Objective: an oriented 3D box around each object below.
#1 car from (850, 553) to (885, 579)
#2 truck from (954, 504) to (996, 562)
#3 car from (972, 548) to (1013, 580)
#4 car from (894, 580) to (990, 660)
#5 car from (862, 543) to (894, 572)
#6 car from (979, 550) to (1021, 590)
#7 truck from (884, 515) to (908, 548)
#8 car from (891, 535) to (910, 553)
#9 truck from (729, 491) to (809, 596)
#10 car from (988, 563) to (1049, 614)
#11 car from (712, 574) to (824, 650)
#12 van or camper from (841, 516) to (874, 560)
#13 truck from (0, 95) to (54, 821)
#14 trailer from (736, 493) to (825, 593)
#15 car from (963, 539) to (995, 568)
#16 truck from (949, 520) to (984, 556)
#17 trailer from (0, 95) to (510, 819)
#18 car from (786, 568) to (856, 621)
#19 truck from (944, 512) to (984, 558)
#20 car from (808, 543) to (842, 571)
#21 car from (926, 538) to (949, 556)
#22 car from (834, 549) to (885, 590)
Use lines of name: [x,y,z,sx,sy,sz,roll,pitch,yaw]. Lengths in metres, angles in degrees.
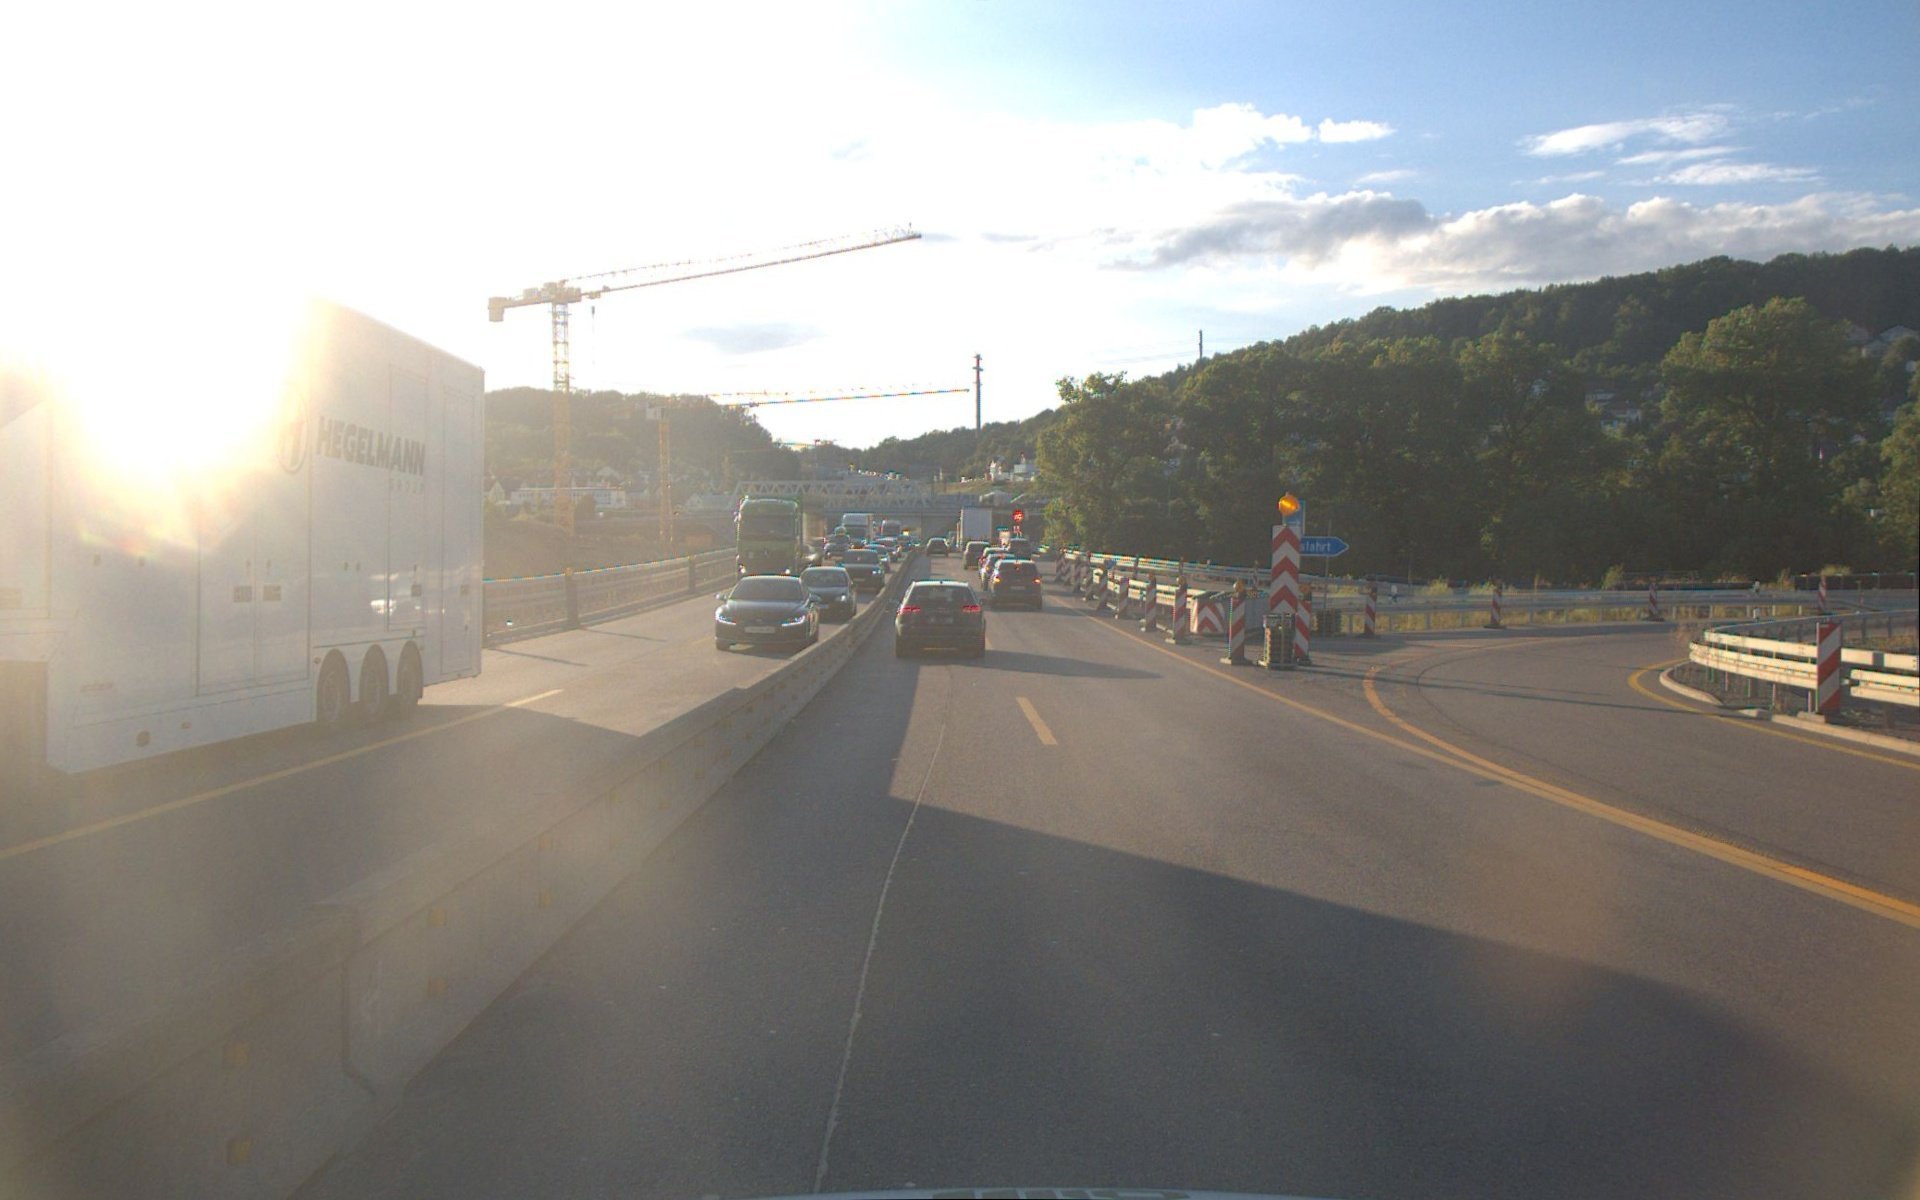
car: [-5.256,-1.963,94.650,1.824,1.457,4.155,1,2,-1]
truck: [1.168,-5.937,143.716,3.316,4.575,15.271,1,3,0]
car: [1.675,-1.877,86.355,1.837,1.627,4.964,1,1,-2]
car: [-0.416,0.345,32.424,1.734,1.414,3.998,1,1,-3]
car: [-5.600,-2.913,113.184,1.953,1.825,3.999,2,0,0]
car: [1.738,-1.351,73.095,1.738,1.613,4.135,1,2,0]
truck: [-7.973,-8.522,206.302,2.756,4.118,5.673,0,2,0]
car: [-5.658,-5.340,156.383,1.790,1.668,4.529,0,2,-2]
truck: [-7.952,-2.375,69.540,2.713,4.152,5.775,1,2,-1]
car: [1.974,-0.388,56.999,1.776,1.643,4.524,2,0,-2]
car: [-3.829,0.199,33.670,1.799,1.434,4.494,1,1,-1]
van or camper: [-8.569,-5.218,138.405,2.408,3.558,7.414,1,2,-1]
truck: [-6.959,-0.862,7.244,2.500,4.294,6.050,2,0,0]
trailer: [-8.053,-2.575,75.891,2.717,4.101,13.682,1,2,-1]
car: [1.138,-2.844,101.297,1.778,1.660,4.410,1,2,-1]
truck: [0.825,-8.252,218.251,3.813,4.575,13.844,1,3,-3]
trailer: [-6.976,-0.868,14.008,2.479,4.287,13.932,2,0,0]
car: [-3.954,-0.187,47.588,1.680,1.434,4.327,1,1,-1]
truck: [0.325,-6.859,173.304,3.811,4.575,15.268,1,3,-1]
car: [-9.160,-2.935,112.278,1.953,1.795,4.440,1,2,-1]
car: [-1.831,-4.336,134.974,1.825,1.444,4.000,2,2,-1]
car: [-4.182,-1.253,69.363,1.873,1.637,4.494,1,1,-1]
